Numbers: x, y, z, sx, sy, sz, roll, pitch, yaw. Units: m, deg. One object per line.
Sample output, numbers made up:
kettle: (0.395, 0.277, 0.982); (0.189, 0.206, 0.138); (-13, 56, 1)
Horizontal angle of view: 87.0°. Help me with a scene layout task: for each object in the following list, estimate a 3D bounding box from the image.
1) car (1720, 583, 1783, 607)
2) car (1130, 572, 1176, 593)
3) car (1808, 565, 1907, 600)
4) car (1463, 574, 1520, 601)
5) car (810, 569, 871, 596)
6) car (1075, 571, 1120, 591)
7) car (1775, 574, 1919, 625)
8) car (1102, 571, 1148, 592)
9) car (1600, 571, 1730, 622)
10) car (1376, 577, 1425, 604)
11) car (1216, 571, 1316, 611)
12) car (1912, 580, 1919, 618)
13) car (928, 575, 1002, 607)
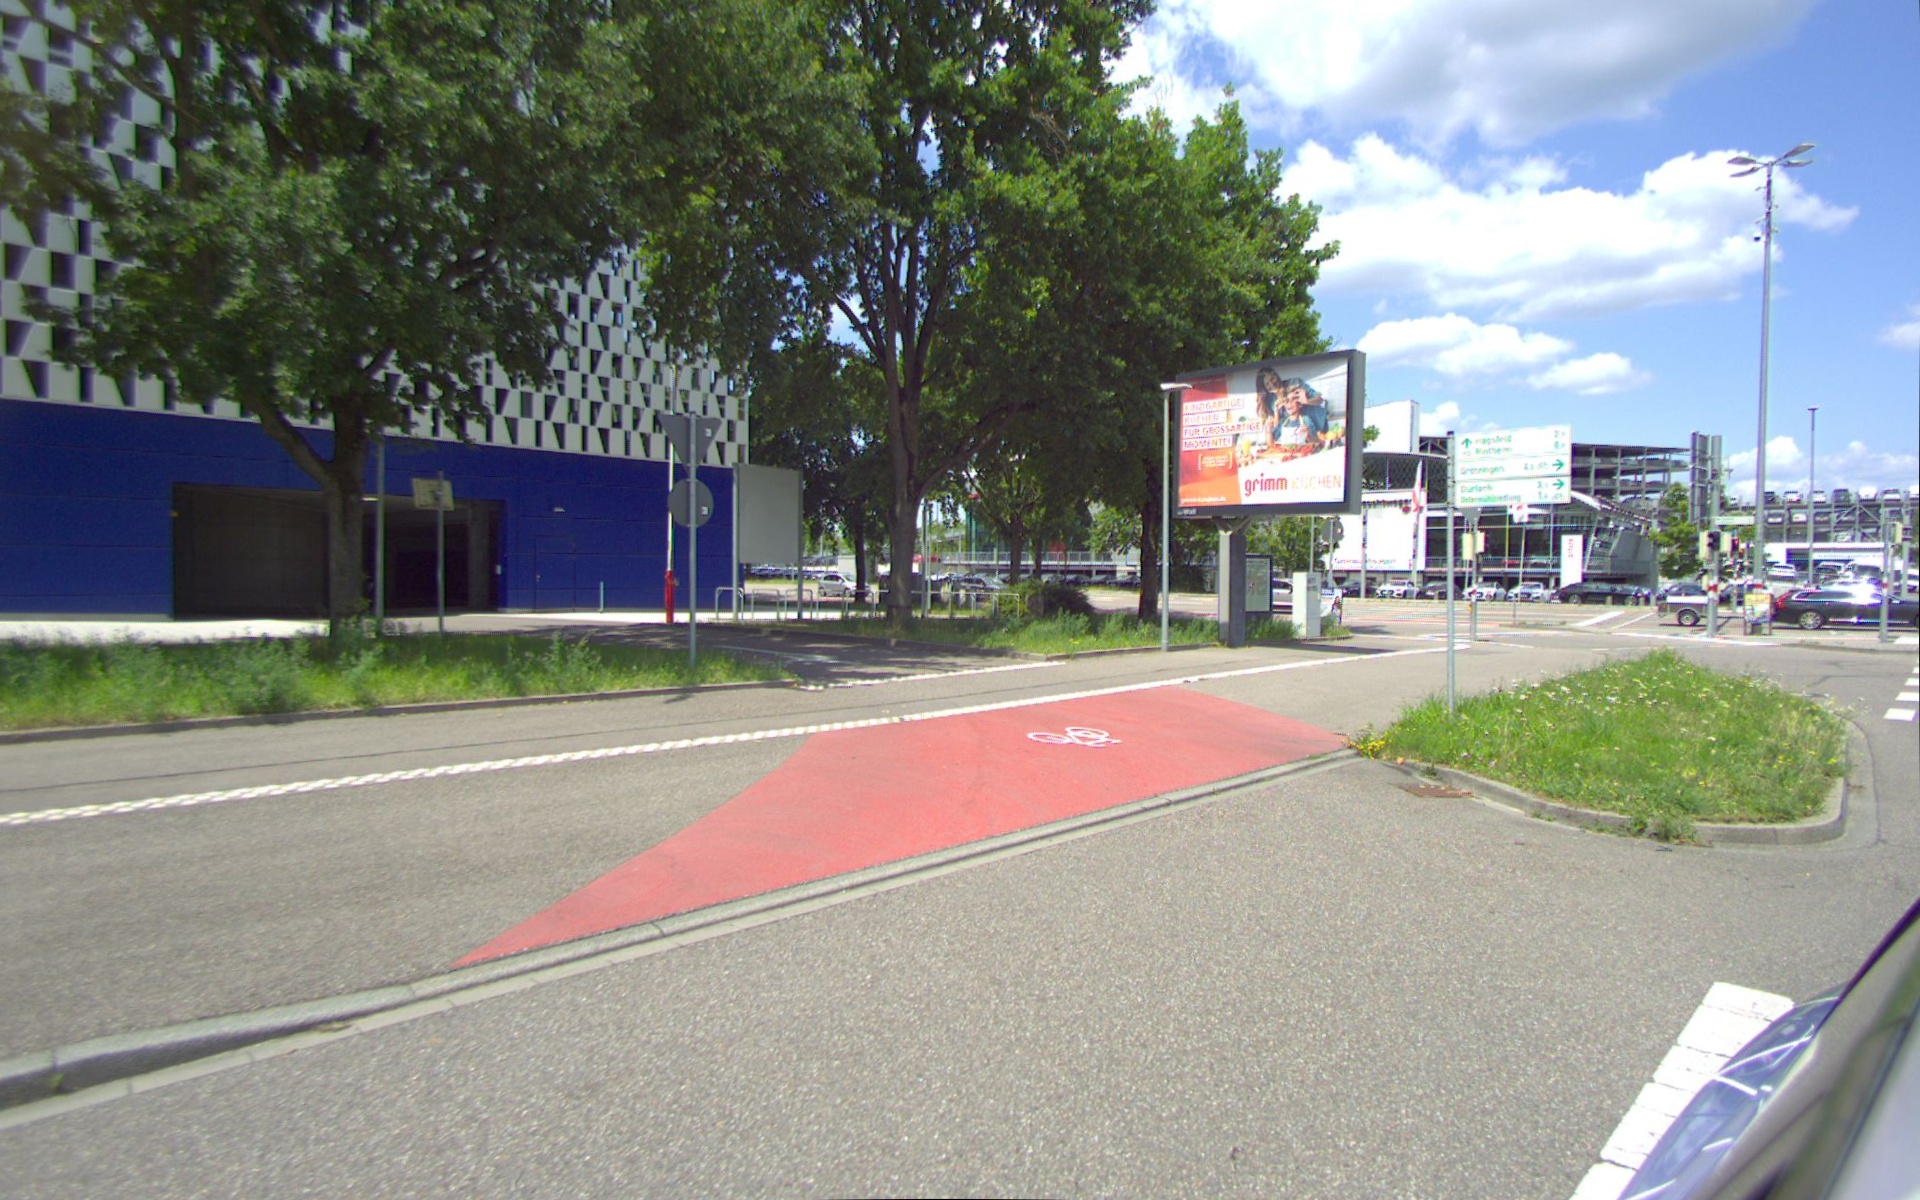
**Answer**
car: (62.915, -0.420, 80.420); (3.915, 1.805, 2.005); (1, 1, -17)
car: (15.558, -1.402, 81.510); (1.793, 1.571, 3.936); (3, 2, 44)
car: (49.699, -0.981, 56.094); (3.986, 1.805, 1.969); (3, 2, 43)
car: (33.810, -0.774, 64.333); (3.929, 1.593, 1.840); (0, 2, -40)
car: (-8.050, -1.174, 68.015); (3.983, 1.712, 1.831); (3, 2, 41)
car: (11.619, -1.621, 85.448); (1.792, 1.571, 3.936); (3, 2, 44)
car: (29.971, -0.040, 33.326); (4.803, 1.599, 1.970); (1, 2, 42)
car: (13.585, -1.509, 83.394); (1.792, 1.571, 3.936); (3, 2, 44)
car: (25.778, -0.181, 37.089); (3.745, 1.749, 1.648); (1, 3, 42)
car: (29.534, -0.645, 67.859); (1.857, 1.749, 3.700); (1, 1, 44)
car: (14.394, -0.451, 47.700); (4.176, 1.749, 1.836); (2, 3, 42)
car: (43.784, 0.039, 42.780); (1.958, 1.652, 4.711); (1, 2, -24)
car: (0.275, -0.529, 58.640); (3.976, 1.712, 1.835); (3, 2, 36)
